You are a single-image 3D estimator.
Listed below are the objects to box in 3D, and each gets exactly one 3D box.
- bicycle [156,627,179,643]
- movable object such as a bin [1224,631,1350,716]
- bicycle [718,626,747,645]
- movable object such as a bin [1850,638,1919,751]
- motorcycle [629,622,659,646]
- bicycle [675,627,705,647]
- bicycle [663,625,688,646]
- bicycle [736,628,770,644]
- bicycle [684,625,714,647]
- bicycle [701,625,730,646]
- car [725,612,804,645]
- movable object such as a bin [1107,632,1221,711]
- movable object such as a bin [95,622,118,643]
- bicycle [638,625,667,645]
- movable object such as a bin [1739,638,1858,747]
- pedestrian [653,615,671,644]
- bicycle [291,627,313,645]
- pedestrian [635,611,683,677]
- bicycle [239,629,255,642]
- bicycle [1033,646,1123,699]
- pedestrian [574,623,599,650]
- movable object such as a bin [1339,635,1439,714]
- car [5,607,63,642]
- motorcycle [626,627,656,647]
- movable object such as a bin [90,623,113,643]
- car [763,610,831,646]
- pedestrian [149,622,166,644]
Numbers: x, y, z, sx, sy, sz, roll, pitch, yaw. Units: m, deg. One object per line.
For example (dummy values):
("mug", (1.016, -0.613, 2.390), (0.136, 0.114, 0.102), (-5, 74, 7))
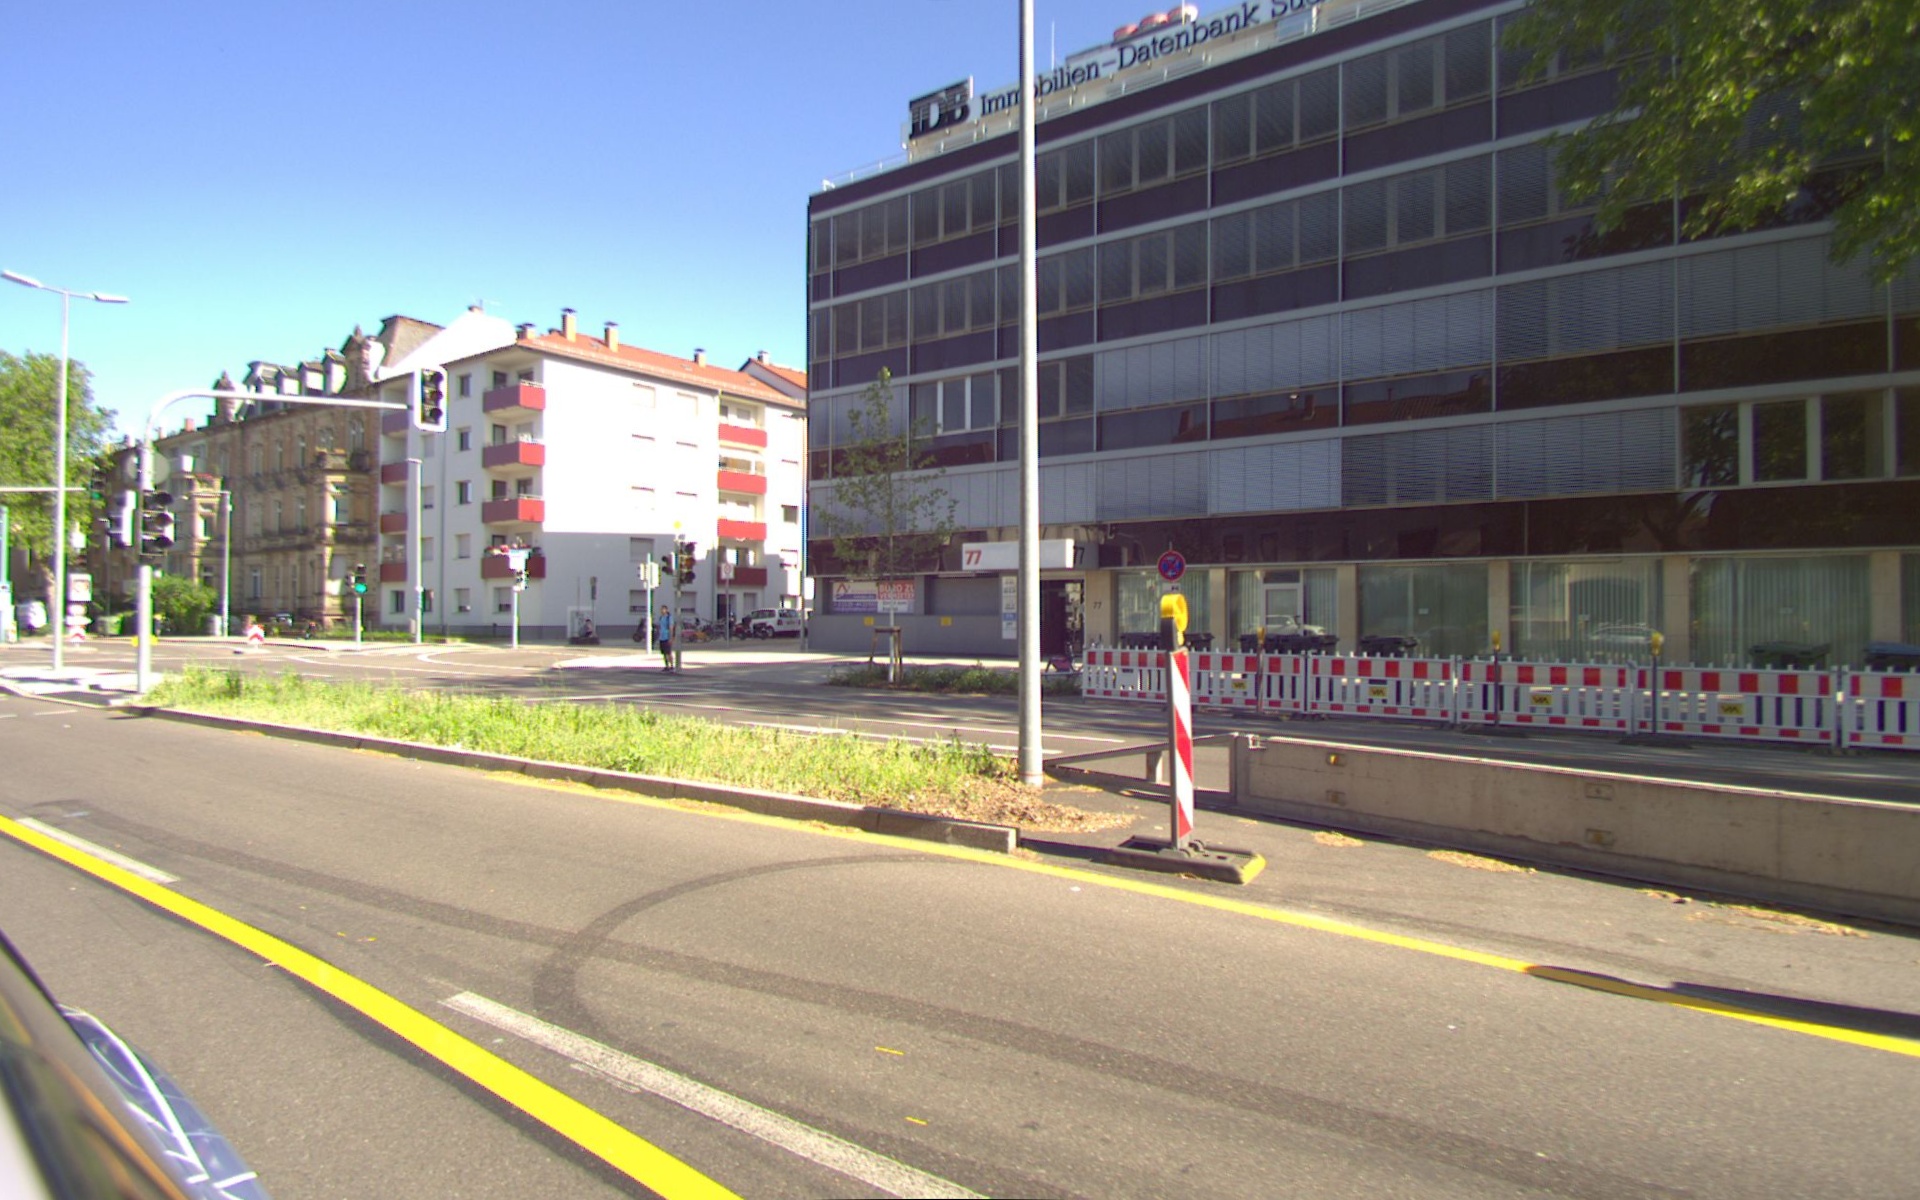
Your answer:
("bicycle", (-51.749, 2.288, 66.085), (2.244, 1.013, 0.463), (-2, -1, 34))
("movable object such as a bin", (5.849, 1.265, 18.100), (1.852, 1.399, 1.203), (-1, -1, 37))
("bicycle", (-11.550, 1.807, 51.285), (1.721, 0.955, 0.454), (-1, -1, 37))
("movable object such as a bin", (12.126, 1.177, 12.978), (0.934, 1.348, 1.397), (-1, -1, 37))
("motorcycle", (-15.381, 1.655, 49.221), (1.784, 1.150, 0.604), (-1, -1, 44))
("bicycle", (-13.043, 1.768, 48.913), (1.952, 0.955, 0.471), (-1, -1, 44))
("bicycle", (-13.691, 1.708, 48.691), (0.500, 0.985, 1.888), (0, -1, -38))
("bicycle", (-10.605, 1.850, 51.884), (1.705, 0.820, 0.413), (0, -1, 12))
("bicycle", (-12.887, 1.766, 49.922), (1.734, 1.076, 0.484), (-1, -1, 38))
("bicycle", (-12.287, 1.785, 50.798), (1.735, 1.011, 0.503), (-1, -1, 40))
("car", (-10.672, 1.521, 55.093), (4.477, 1.744, 1.973), (-1, -1, 41))
("movable object such as a bin", (3.895, 1.327, 19.371), (1.852, 1.399, 1.104), (-1, -1, 37))
("movable object such as a bin", (-60.031, 2.295, 71.198), (1.471, 1.371, 0.885), (-3, -4, 36))
("bicycle", (-15.501, 1.757, 51.022), (1.735, 0.976, 0.568), (-1, -1, 40))
("movable object such as a bin", (11.350, 1.204, 13.761), (1.155, 1.348, 1.397), (-1, -1, 37))
("pedestrian", (-15.795, 1.566, 53.639), (0.694, 1.508, 0.594), (-1, -1, 38))
("bicycle", (-35.711, 1.934, 54.921), (1.935, 0.965, 0.302), (-1, -2, 36))
("pedestrian", (-8.110, 1.169, 27.274), (1.012, 1.724, 0.855), (-2, -2, 42))
("bicycle", (-41.724, 2.061, 59.210), (1.411, 0.777, 0.296), (-1, -2, 36))
("bicycle", (2.533, 1.541, 21.847), (1.875, 1.045, 0.621), (-1, -1, 36))
("pedestrian", (-16.733, 1.625, 45.306), (0.783, 1.162, 0.714), (-1, -1, 23))
("movable object such as a bin", (7.241, 1.223, 17.064), (1.239, 1.212, 1.381), (-1, -1, 38))
("car", (-71.412, 1.915, 78.006), (5.276, 2.465, 2.224), (-3, -4, 36))
("motorcycle", (-15.048, 1.742, 47.657), (1.841, 0.943, 0.497), (-1, -1, 42))
("movable object such as a bin", (-61.129, 2.337, 72.053), (1.311, 1.373, 0.885), (-3, -4, 34))
("car", (-9.150, 1.559, 56.777), (3.788, 1.970, 1.680), (-1, -1, 38))
("pedestrian", (-52.316, 2.136, 65.952), (1.087, 1.388, 0.562), (-2, -2, 33))
